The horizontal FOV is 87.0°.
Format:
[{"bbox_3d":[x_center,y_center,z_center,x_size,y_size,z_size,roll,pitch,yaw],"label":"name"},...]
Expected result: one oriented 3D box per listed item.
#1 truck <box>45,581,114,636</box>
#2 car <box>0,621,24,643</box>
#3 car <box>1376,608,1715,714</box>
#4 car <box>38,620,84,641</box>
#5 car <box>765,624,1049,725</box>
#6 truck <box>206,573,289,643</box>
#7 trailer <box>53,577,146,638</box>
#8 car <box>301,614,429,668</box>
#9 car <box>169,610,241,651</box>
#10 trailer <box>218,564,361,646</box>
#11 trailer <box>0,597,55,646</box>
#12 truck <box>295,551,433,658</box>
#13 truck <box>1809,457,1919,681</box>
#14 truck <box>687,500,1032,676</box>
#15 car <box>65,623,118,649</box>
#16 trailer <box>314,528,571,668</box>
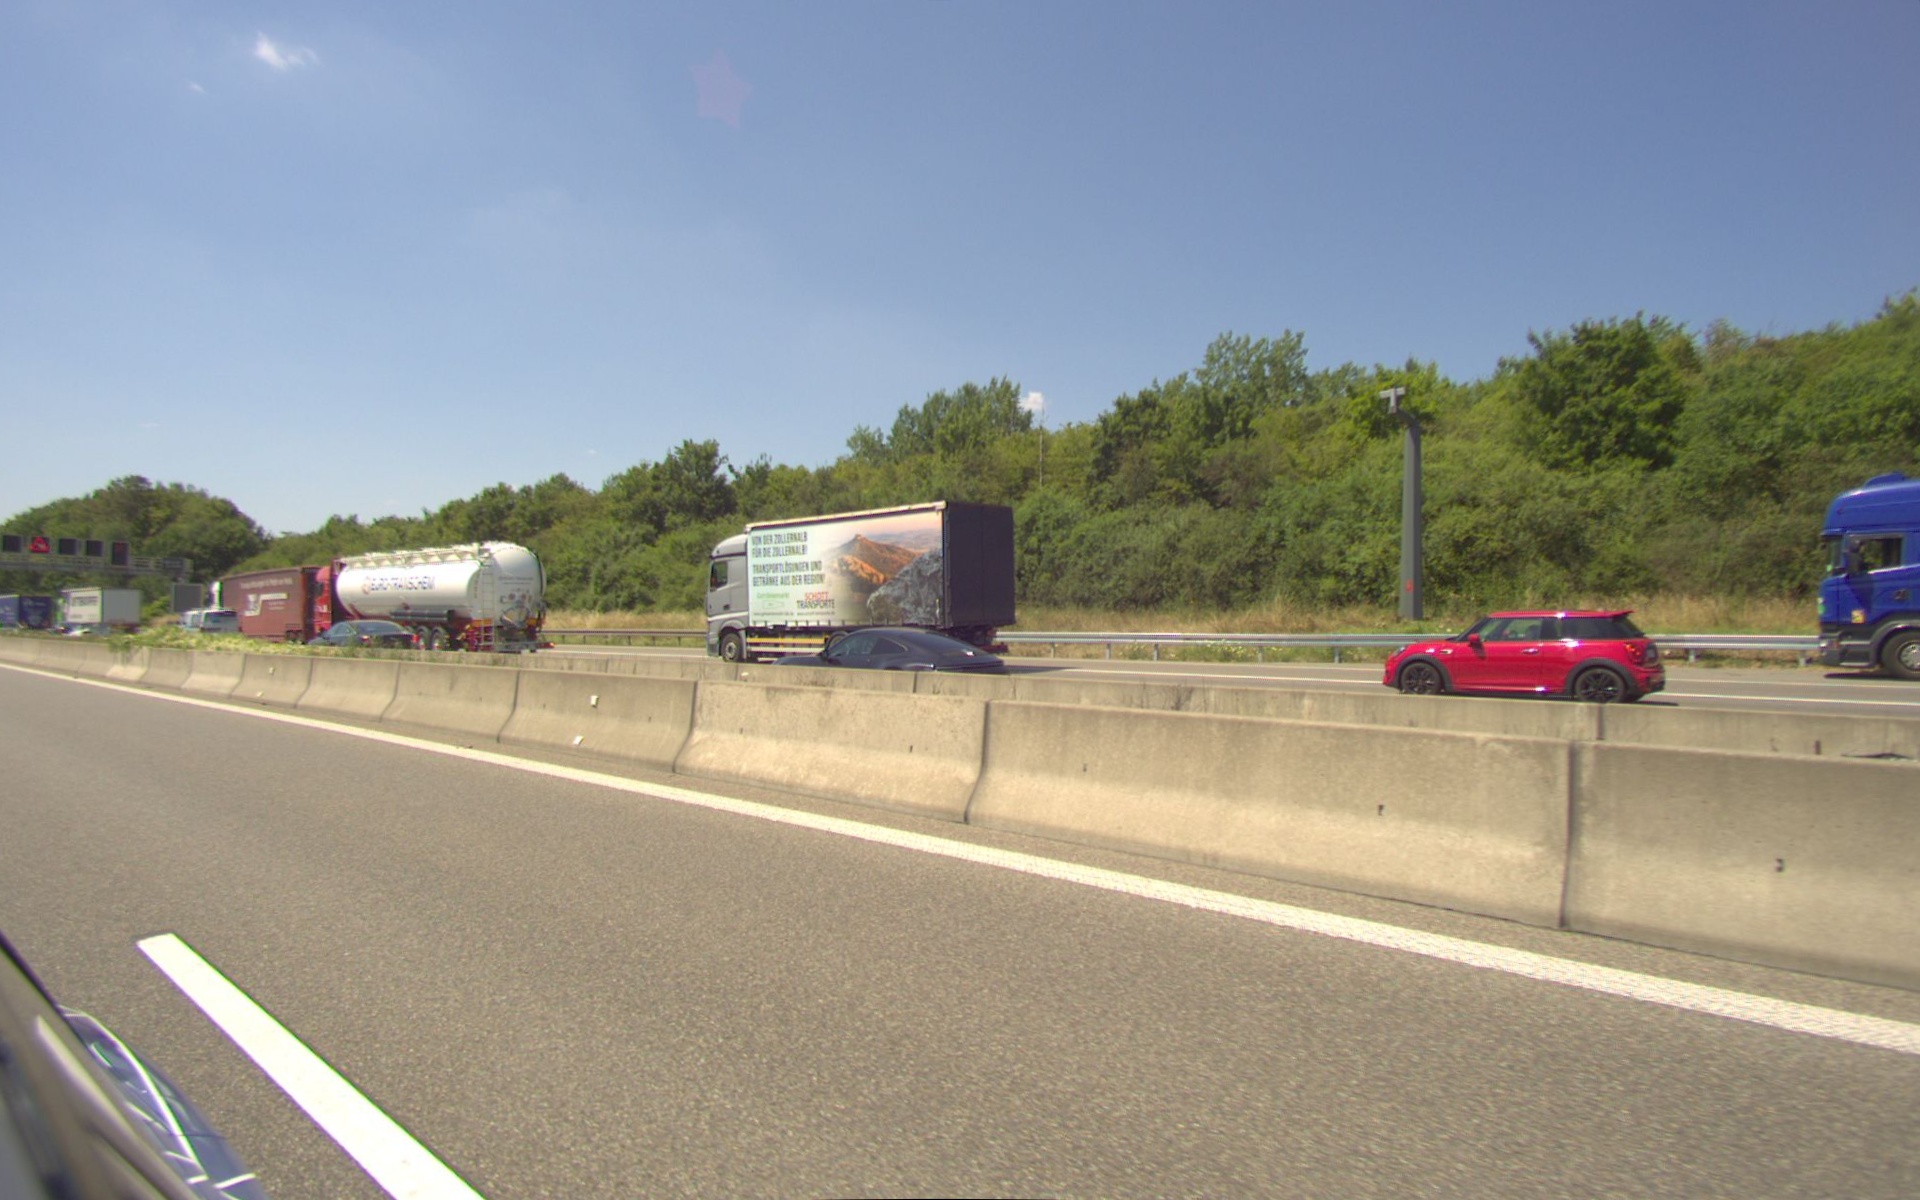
[{"bbox_3d":[-75.183,0.713,86.418,6.595,4.478,3.356,-1,0,39],"label":"truck"},{"bbox_3d":[-66.470,2.212,70.071,3.993,1.438,1.745,-1,-1,37],"label":"car"},{"bbox_3d":[8.892,0.847,15.629,1.727,1.415,4.214,1,-1,-45],"label":"car"},{"bbox_3d":[-64.636,2.190,72.754,3.993,1.438,1.745,-1,-1,37],"label":"car"},{"bbox_3d":[-0.893,1.010,15.187,4.219,1.285,1.772,-1,-1,41],"label":"car"},{"bbox_3d":[-43.093,0.524,61.190,5.128,4.040,2.938,-1,-1,40],"label":"truck"},{"bbox_3d":[-70.299,0.638,82.501,13.634,4.609,3.321,-1,0,39],"label":"trailer"},{"bbox_3d":[-17.955,1.178,30.437,4.829,1.481,1.824,-1,0,40],"label":"car"},{"bbox_3d":[-39.004,1.552,52.248,4.541,2.045,1.937,-1,-1,39],"label":"car"},{"bbox_3d":[-37.775,0.360,56.670,14.074,4.141,2.909,-1,-1,40],"label":"trailer"},{"bbox_3d":[-95.624,2.146,103.250,11.012,4.761,2.984,-1,0,38],"label":"trailer"},{"bbox_3d":[-23.691,0.194,40.106,6.082,3.910,2.854,-1,0,40],"label":"truck"},{"bbox_3d":[19.582,-0.621,18.487,6.092,4.059,3.056,-2,-1,42],"label":"truck"},{"bbox_3d":[-3.091,-0.169,27.200,10.351,3.946,2.977,-1,-1,41],"label":"truck"},{"bbox_3d":[-46.292,1.902,53.956,3.422,1.333,1.596,-1,-1,40],"label":"car"},{"bbox_3d":[-18.808,-0.009,35.918,14.162,4.196,2.907,-1,0,40],"label":"trailer"}]
